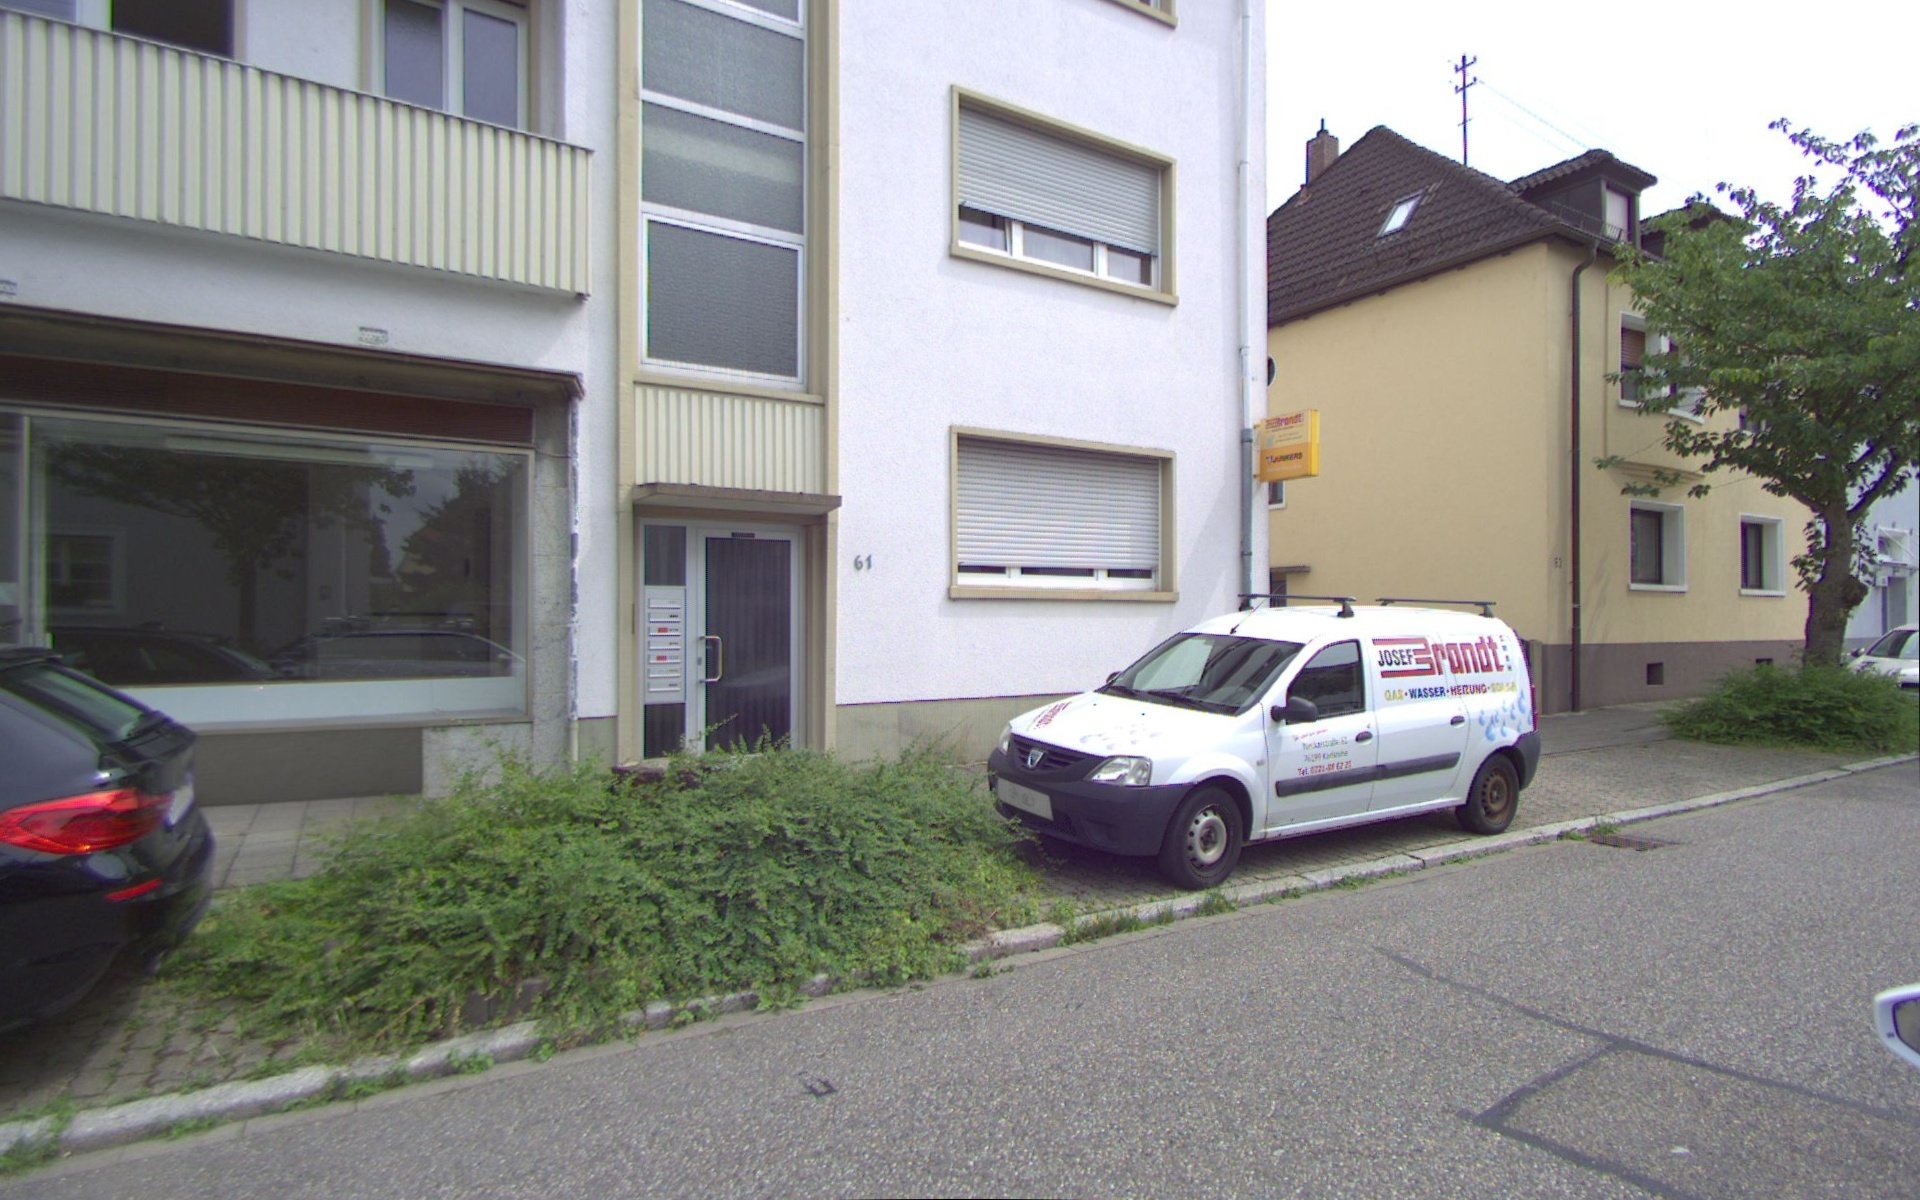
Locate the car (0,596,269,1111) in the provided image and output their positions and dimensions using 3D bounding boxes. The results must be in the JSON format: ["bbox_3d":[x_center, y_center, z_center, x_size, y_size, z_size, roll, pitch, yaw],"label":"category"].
[{"bbox_3d":[-4.862,0.712,2.745,4.757,1.512,1.781,1,-1,-31],"label":"car"}]

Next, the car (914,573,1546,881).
[{"bbox_3d":[2.024,0.735,7.208,4.332,1.602,1.909,1,-3,-31],"label":"car"}]

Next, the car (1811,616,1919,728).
[{"bbox_3d":[14.771,1.039,15.019,4.225,1.411,1.762,1,4,-31],"label":"car"}]
